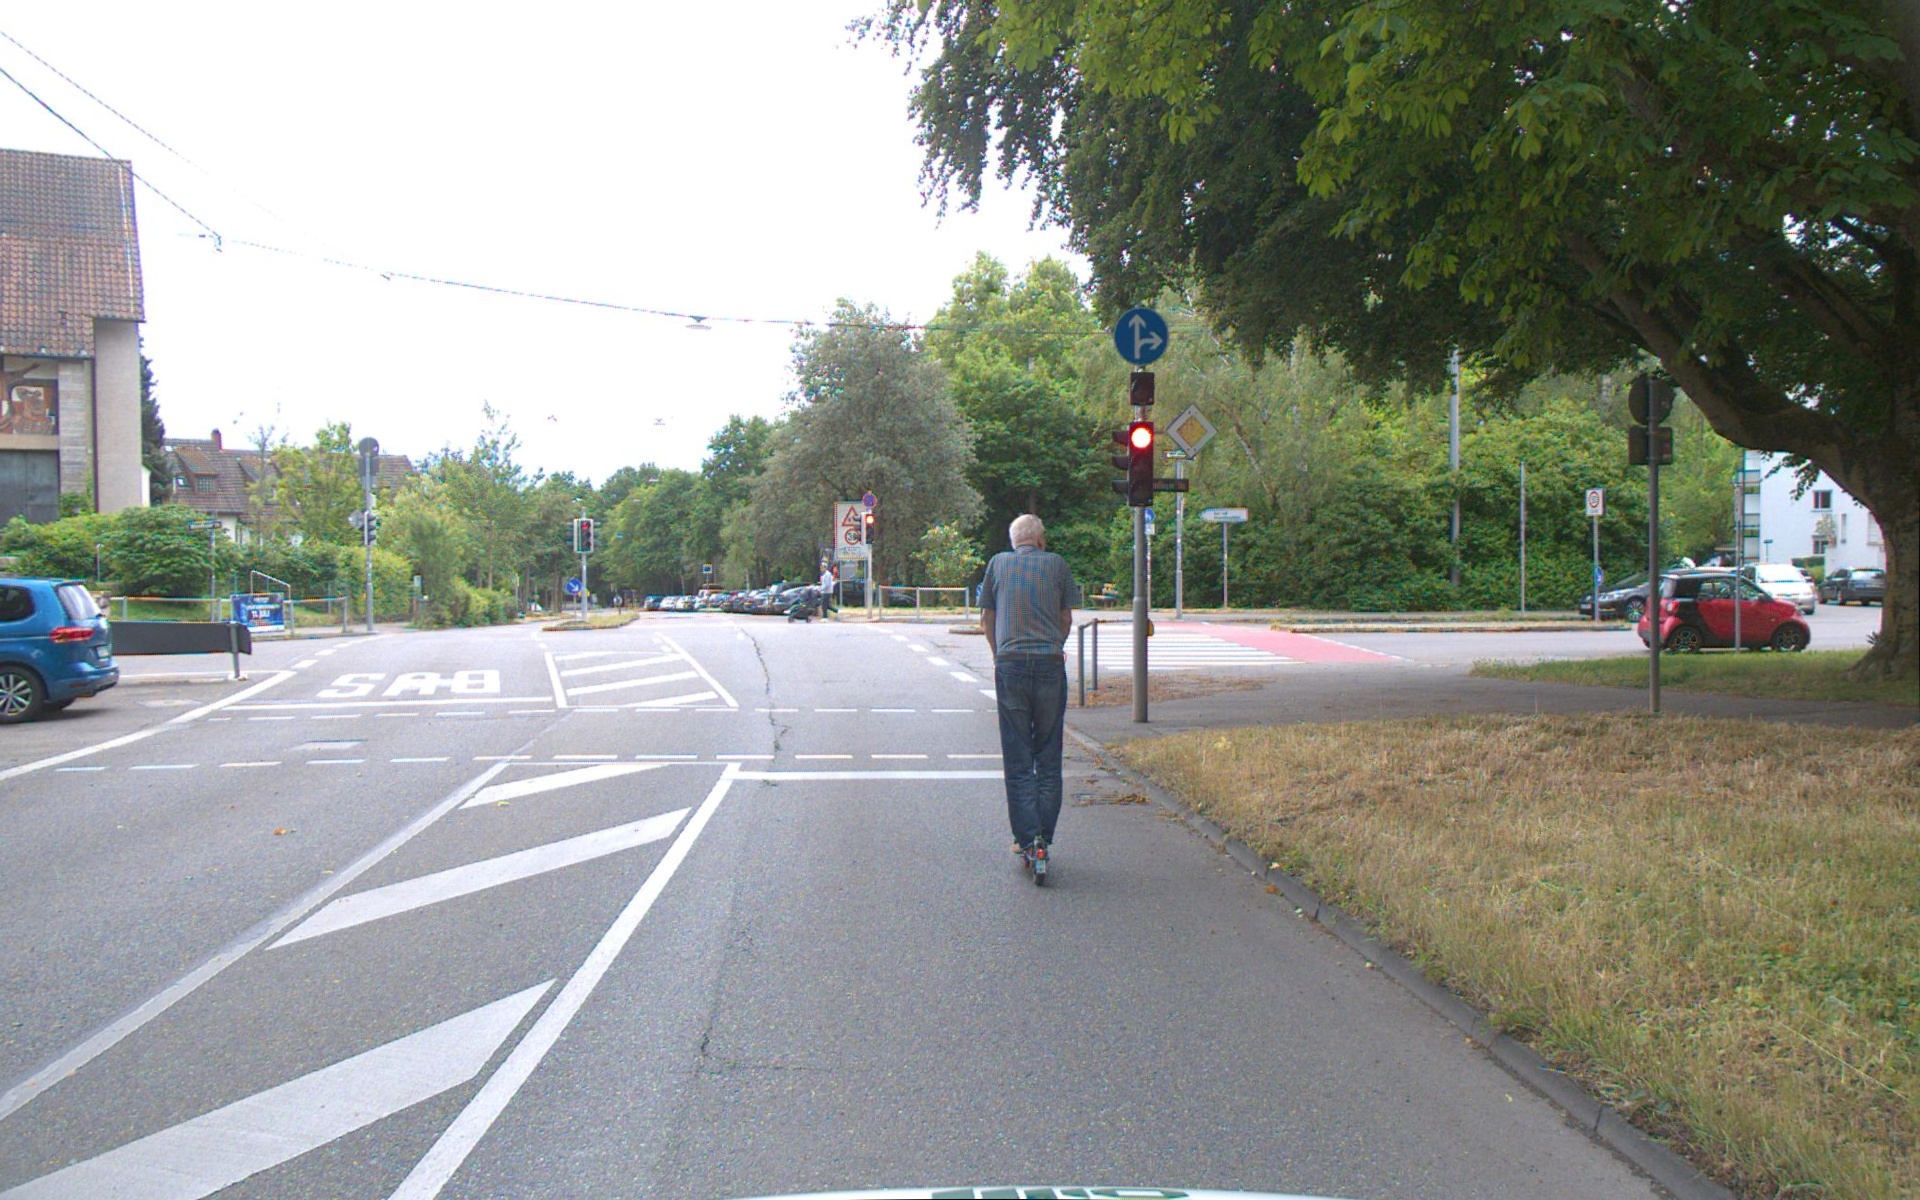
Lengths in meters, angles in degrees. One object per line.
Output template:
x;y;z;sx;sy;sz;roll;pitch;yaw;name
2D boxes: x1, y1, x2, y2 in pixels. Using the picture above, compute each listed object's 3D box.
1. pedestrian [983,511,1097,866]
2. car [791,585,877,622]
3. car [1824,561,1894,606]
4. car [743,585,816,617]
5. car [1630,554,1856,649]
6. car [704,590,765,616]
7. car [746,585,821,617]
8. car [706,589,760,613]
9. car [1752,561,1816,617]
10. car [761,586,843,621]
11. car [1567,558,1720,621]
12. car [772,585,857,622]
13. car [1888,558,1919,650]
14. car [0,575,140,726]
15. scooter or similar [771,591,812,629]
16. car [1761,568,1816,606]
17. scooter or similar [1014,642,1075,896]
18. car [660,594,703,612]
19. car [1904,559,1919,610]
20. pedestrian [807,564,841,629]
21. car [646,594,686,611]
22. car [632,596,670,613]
0.420;0.462;8.859;0.561;1.845;0.420;-1;0;0;pedestrian
-6.087;0.163;79.794;3.789;1.639;1.716;-2;1;-23;car
34.828;-0.677;64.146;1.686;1.639;3.856;-2;1;18;car
-10.252;0.053;93.943;3.792;1.639;1.715;-2;1;-25;car
14.724;0.015;31.236;3.444;1.639;1.729;-2;1;3;car
-15.517;0.170;113.649;3.792;1.639;1.715;-2;1;-25;car
-9.778;0.060;91.545;3.792;1.639;1.715;-2;1;-25;car
-17.362;0.067;126.564;3.792;1.639;1.715;-2;1;-25;car
25.581;-0.365;51.383;1.689;1.639;3.851;-2;1;26;car
-8.031;0.154;84.248;3.792;1.639;1.715;-2;1;-25;car
18.426;-0.280;44.694;3.444;1.557;1.729;-2;1;5;car
-7.201;0.165;81.731;3.794;1.639;1.714;-2;1;-26;car
19.048;0.020;29.914;3.764;1.639;1.727;-2;1;24;car
-11.717;0.603;18.844;3.924;1.639;1.810;-2;1;-17;car
-4.990;0.293;48.862;1.091;1.100;0.574;-1;0;-19;scooter or similar
37.899;-0.626;75.741;1.686;1.639;3.856;-2;1;18;car
0.436;0.846;8.701;0.276;1.199;1.177;-1;0;2;scooter or similar
-27.429;0.322;162.909;3.792;1.639;1.715;-2;1;-25;car
32.121;-0.512;53.777;1.686;1.639;3.856;-2;1;18;car
-4.054;-0.100;49.176;0.870;1.895;0.571;-1;0;-18;pedestrian
-30.251;0.266;170.125;3.792;1.639;1.715;-2;1;-25;car
-33.563;0.481;179.673;3.792;1.639;1.715;-2;1;-25;car
